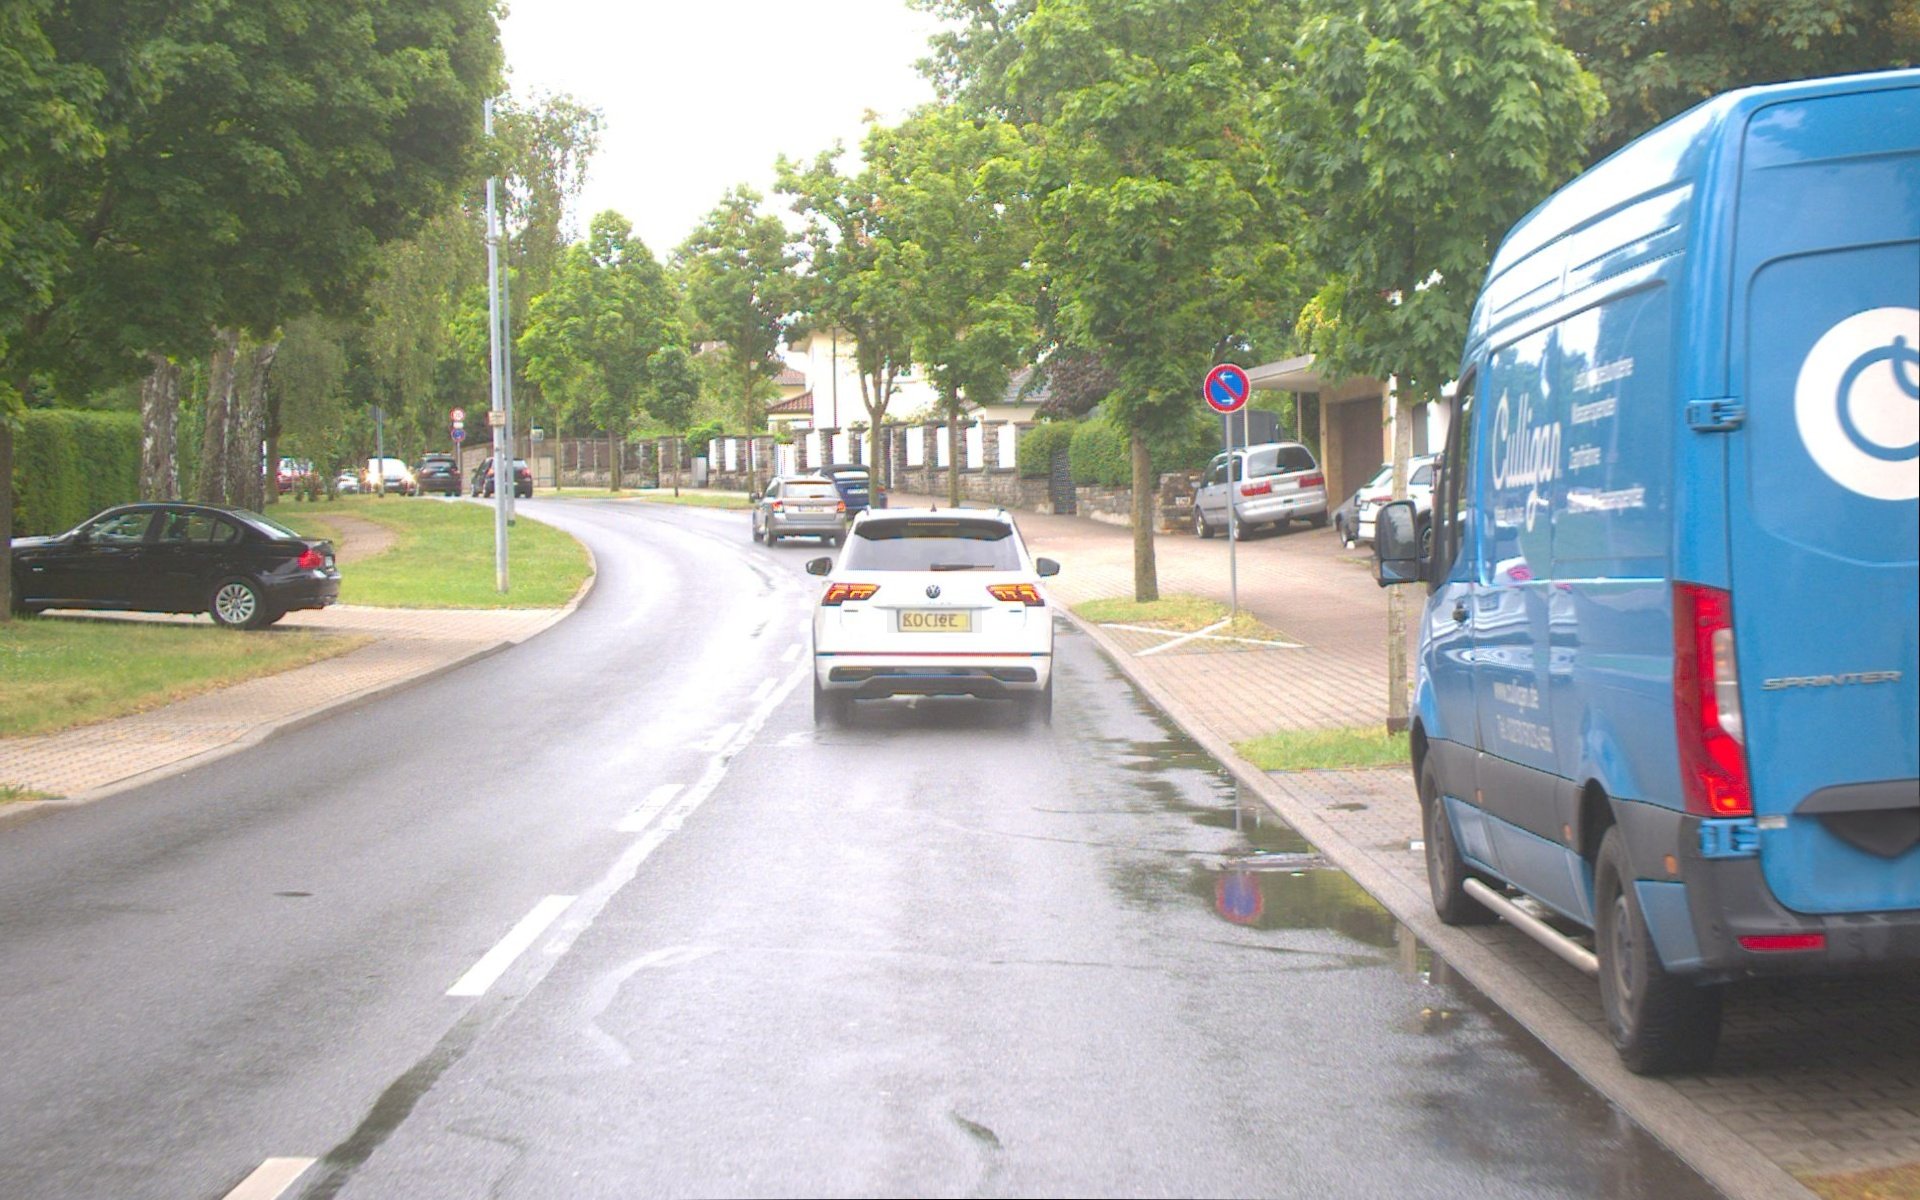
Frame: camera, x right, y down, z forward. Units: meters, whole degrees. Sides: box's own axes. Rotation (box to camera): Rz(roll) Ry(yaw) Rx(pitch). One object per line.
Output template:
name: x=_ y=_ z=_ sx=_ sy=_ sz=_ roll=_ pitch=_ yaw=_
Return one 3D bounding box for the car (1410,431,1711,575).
car: x=8.766 y=-1.439 z=50.385 sx=3.986 sy=2.006 sz=1.830 roll=0 pitch=4 yaw=-4

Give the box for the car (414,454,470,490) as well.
car: x=-21.300 y=-5.279 z=141.258 sx=1.642 sy=1.422 sz=4.002 roll=0 pitch=2 yaw=-17

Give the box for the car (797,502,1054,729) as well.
car: x=-0.272 y=0.064 z=27.237 sx=1.865 sy=1.645 sz=4.000 roll=-1 pitch=1 yaw=-1

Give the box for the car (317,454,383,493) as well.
car: x=-23.018 y=-4.782 z=129.717 sx=1.766 sy=1.422 sz=4.002 roll=0 pitch=2 yaw=-20

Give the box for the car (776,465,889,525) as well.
car: x=-3.182 y=-2.604 z=84.941 sx=1.642 sy=1.422 sz=4.002 roll=0 pitch=2 yaw=-20

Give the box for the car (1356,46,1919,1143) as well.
car: x=2.693 y=-0.113 z=10.985 sx=1.993 sy=2.578 sz=5.634 roll=-3 pitch=1 yaw=-1

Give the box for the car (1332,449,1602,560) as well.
car: x=8.185 y=-1.562 z=55.698 sx=3.986 sy=1.702 sz=1.830 roll=0 pitch=4 yaw=-4

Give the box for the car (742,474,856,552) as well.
car: x=-3.431 y=-1.821 z=72.804 sx=1.768 sy=1.546 sz=4.001 roll=-1 pitch=1 yaw=-12

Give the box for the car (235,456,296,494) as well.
car: x=-26.990 y=-4.871 z=133.535 sx=1.766 sy=1.422 sz=4.002 roll=0 pitch=2 yaw=-20

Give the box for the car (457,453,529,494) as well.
car: x=-16.929 y=-4.591 z=124.531 sx=1.642 sy=1.422 sz=4.001 roll=0 pitch=2 yaw=-22

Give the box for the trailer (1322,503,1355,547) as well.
trailer: x=6.498 y=-1.289 z=59.022 sx=0.418 sy=0.754 sz=1.367 roll=0 pitch=1 yaw=0

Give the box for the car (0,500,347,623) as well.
car: x=-9.378 y=-0.463 z=39.753 sx=4.219 sy=1.358 sz=1.690 roll=1 pitch=1 yaw=4

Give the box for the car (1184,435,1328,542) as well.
car: x=5.684 y=-2.186 z=66.392 sx=1.823 sy=1.698 sz=4.001 roll=-9 pitch=4 yaw=-5

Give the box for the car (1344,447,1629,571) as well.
car: x=8.041 y=-1.406 z=52.727 sx=3.986 sy=1.805 sz=1.830 roll=0 pitch=4 yaw=-4
